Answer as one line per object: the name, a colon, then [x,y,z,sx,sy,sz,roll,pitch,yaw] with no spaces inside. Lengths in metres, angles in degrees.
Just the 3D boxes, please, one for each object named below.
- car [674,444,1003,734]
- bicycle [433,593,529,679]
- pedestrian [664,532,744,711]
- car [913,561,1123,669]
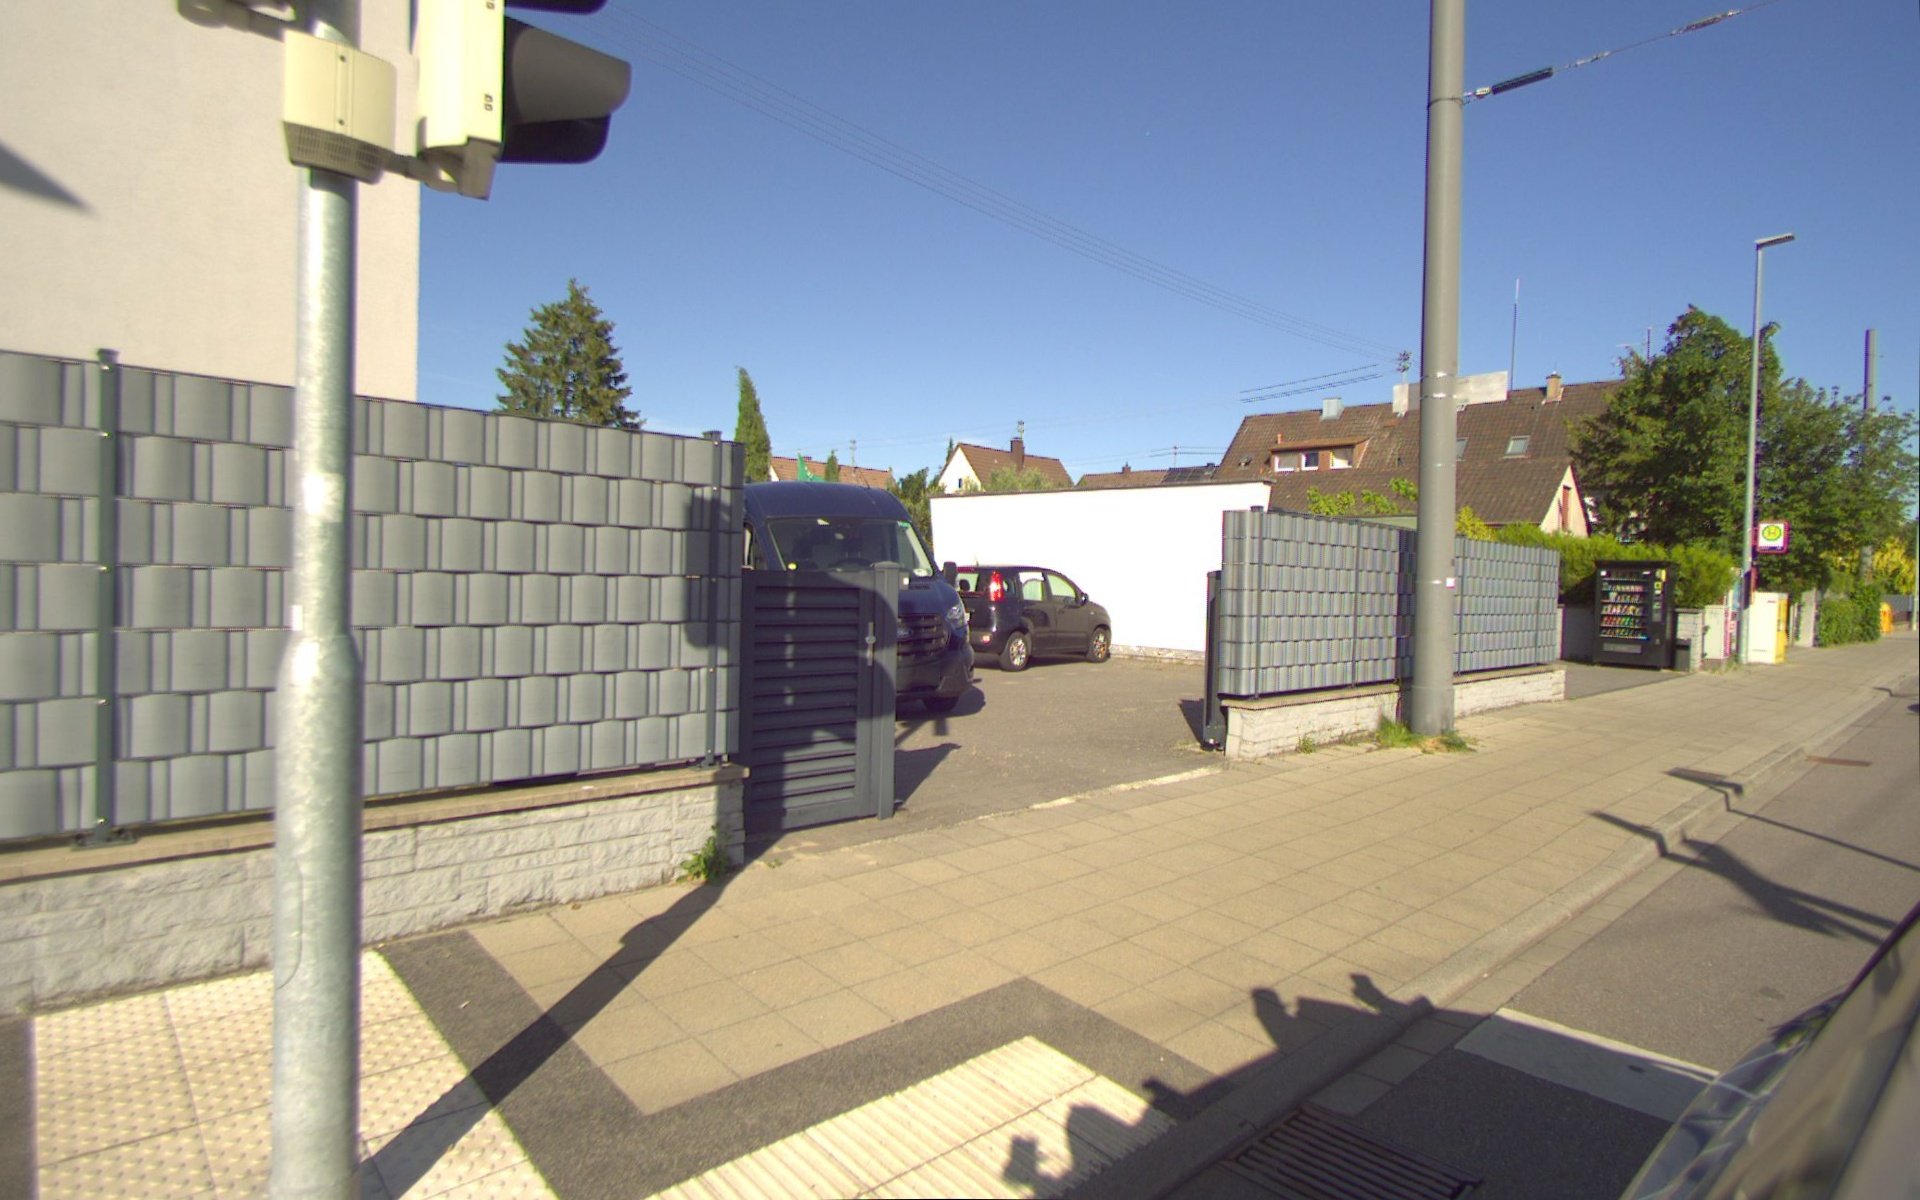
car: [-1.627,-0.183,11.244,1.960,2.461,5.000,-1,2,-28]
bicycle: [-6.307,0.445,13.291,1.808,1.074,0.428,0,0,40]
pedestrian: [-2.754,0.216,10.883,0.662,1.838,0.555,-3,1,-25]
car: [0.991,0.164,15.740,1.554,1.479,3.440,1,2,40]
